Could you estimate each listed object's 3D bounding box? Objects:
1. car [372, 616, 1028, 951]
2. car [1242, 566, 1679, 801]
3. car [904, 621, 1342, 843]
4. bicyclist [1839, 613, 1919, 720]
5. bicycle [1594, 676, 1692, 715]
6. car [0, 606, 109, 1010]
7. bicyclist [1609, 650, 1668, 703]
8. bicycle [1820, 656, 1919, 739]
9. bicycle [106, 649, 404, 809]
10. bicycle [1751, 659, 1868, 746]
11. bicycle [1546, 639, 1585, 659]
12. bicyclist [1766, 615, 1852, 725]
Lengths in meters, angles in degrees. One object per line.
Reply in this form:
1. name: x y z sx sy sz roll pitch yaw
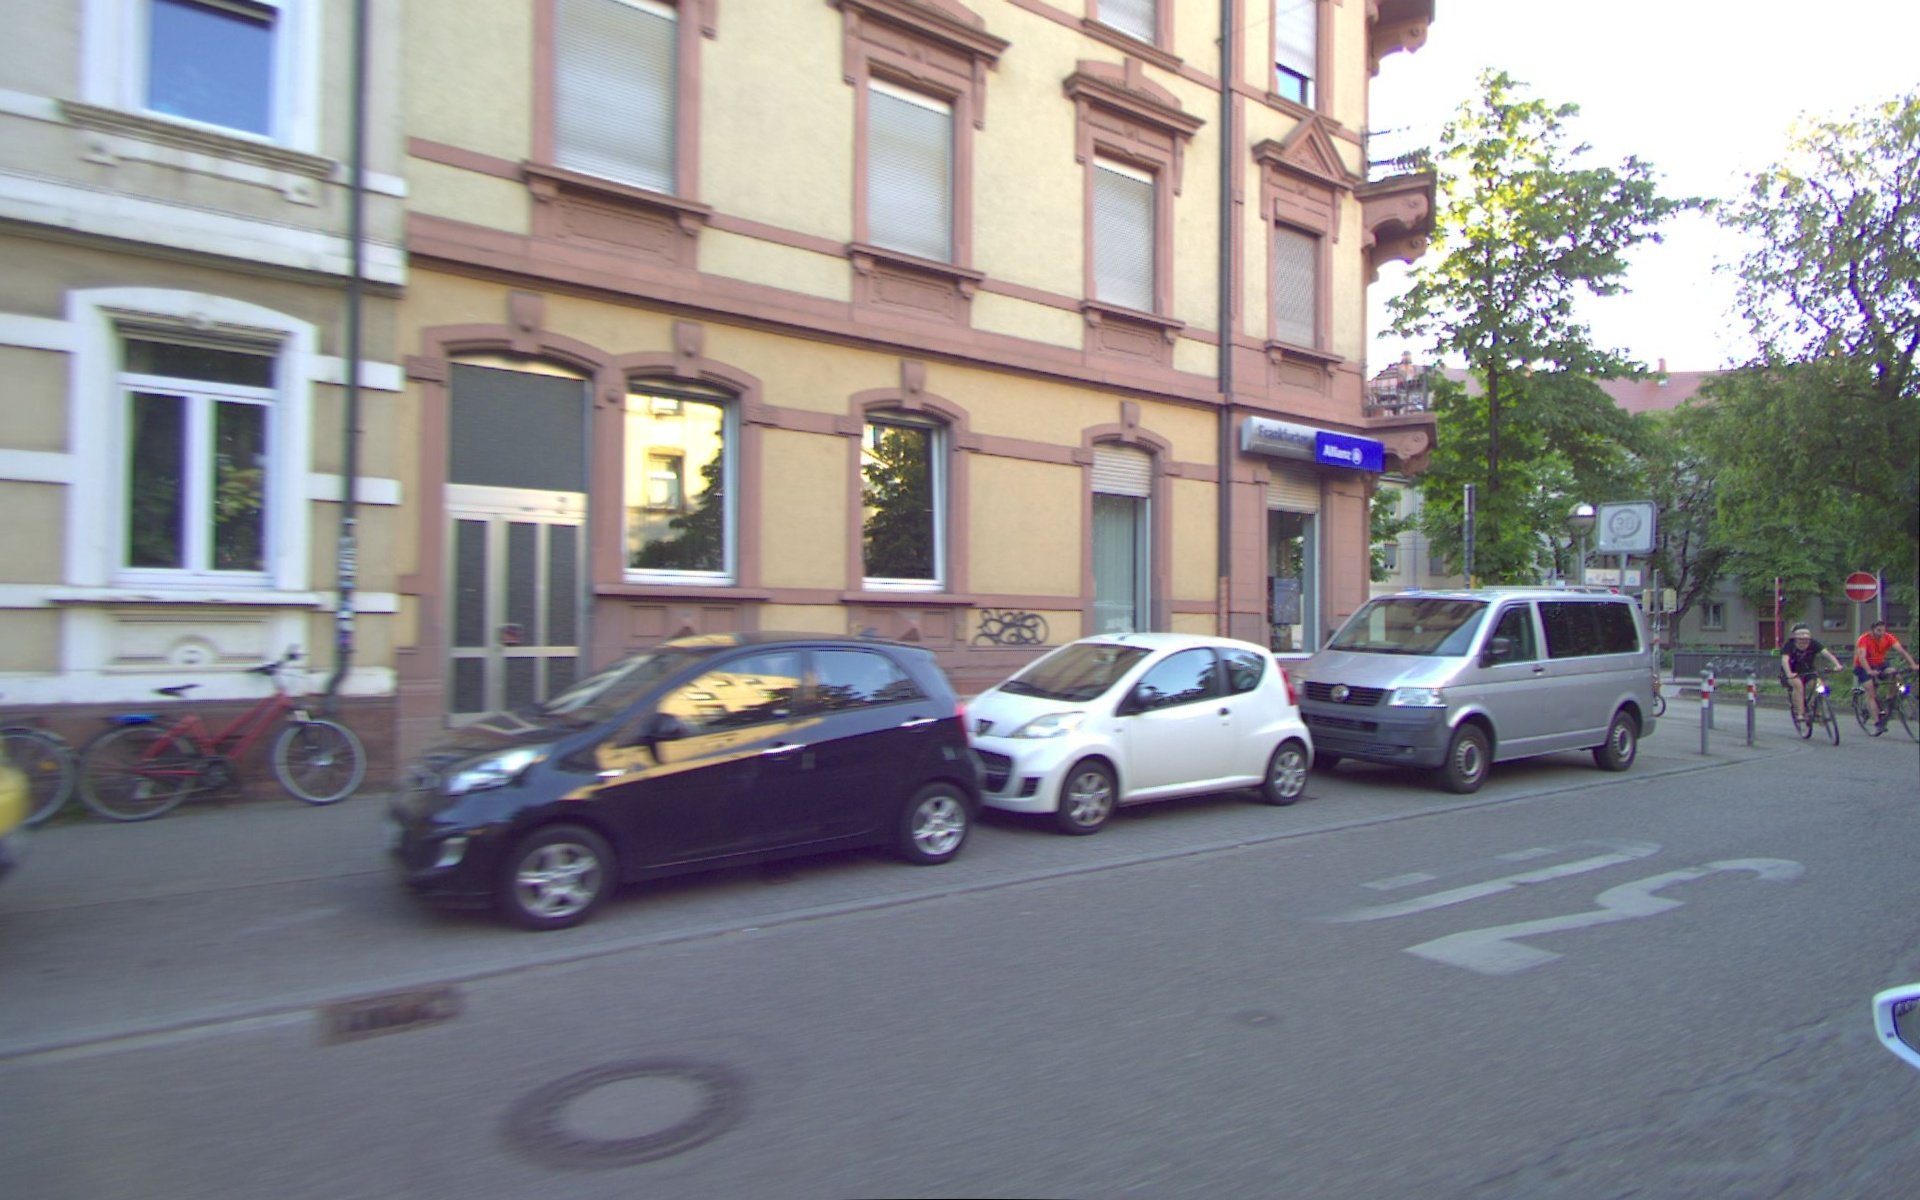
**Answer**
1. car: -1.537 0.896 6.452 3.707 1.511 1.717 1 0 -37
2. car: 5.625 0.779 11.091 4.949 2.084 2.029 1 0 -32
3. car: 1.477 0.973 8.733 3.575 1.511 1.674 1 0 -33
4. bicyclist: 13.767 0.976 15.033 0.641 1.546 0.867 0 -1 22
5. bicycle: 13.199 1.835 19.456 0.642 0.651 1.455 1 -2 -23
6. car: -6.119 0.788 3.395 4.753 1.546 1.827 1 0 -35
7. bicyclist: 13.180 1.475 19.515 0.639 0.990 0.726 1 -2 -24
8. bicycle: 13.813 1.435 15.151 0.639 1.122 2.014 0 -2 21
9. bicycle: -5.392 0.936 7.808 1.816 1.084 0.657 1 -2 -35
10. bicycle: 12.410 1.452 14.751 0.709 1.122 2.014 0 -2 22
11. bicycle: 35.214 2.854 58.421 1.881 1.166 0.687 0 -1 2
12. bicyclist: 12.381 1.004 14.681 0.702 1.546 0.867 0 -1 22
